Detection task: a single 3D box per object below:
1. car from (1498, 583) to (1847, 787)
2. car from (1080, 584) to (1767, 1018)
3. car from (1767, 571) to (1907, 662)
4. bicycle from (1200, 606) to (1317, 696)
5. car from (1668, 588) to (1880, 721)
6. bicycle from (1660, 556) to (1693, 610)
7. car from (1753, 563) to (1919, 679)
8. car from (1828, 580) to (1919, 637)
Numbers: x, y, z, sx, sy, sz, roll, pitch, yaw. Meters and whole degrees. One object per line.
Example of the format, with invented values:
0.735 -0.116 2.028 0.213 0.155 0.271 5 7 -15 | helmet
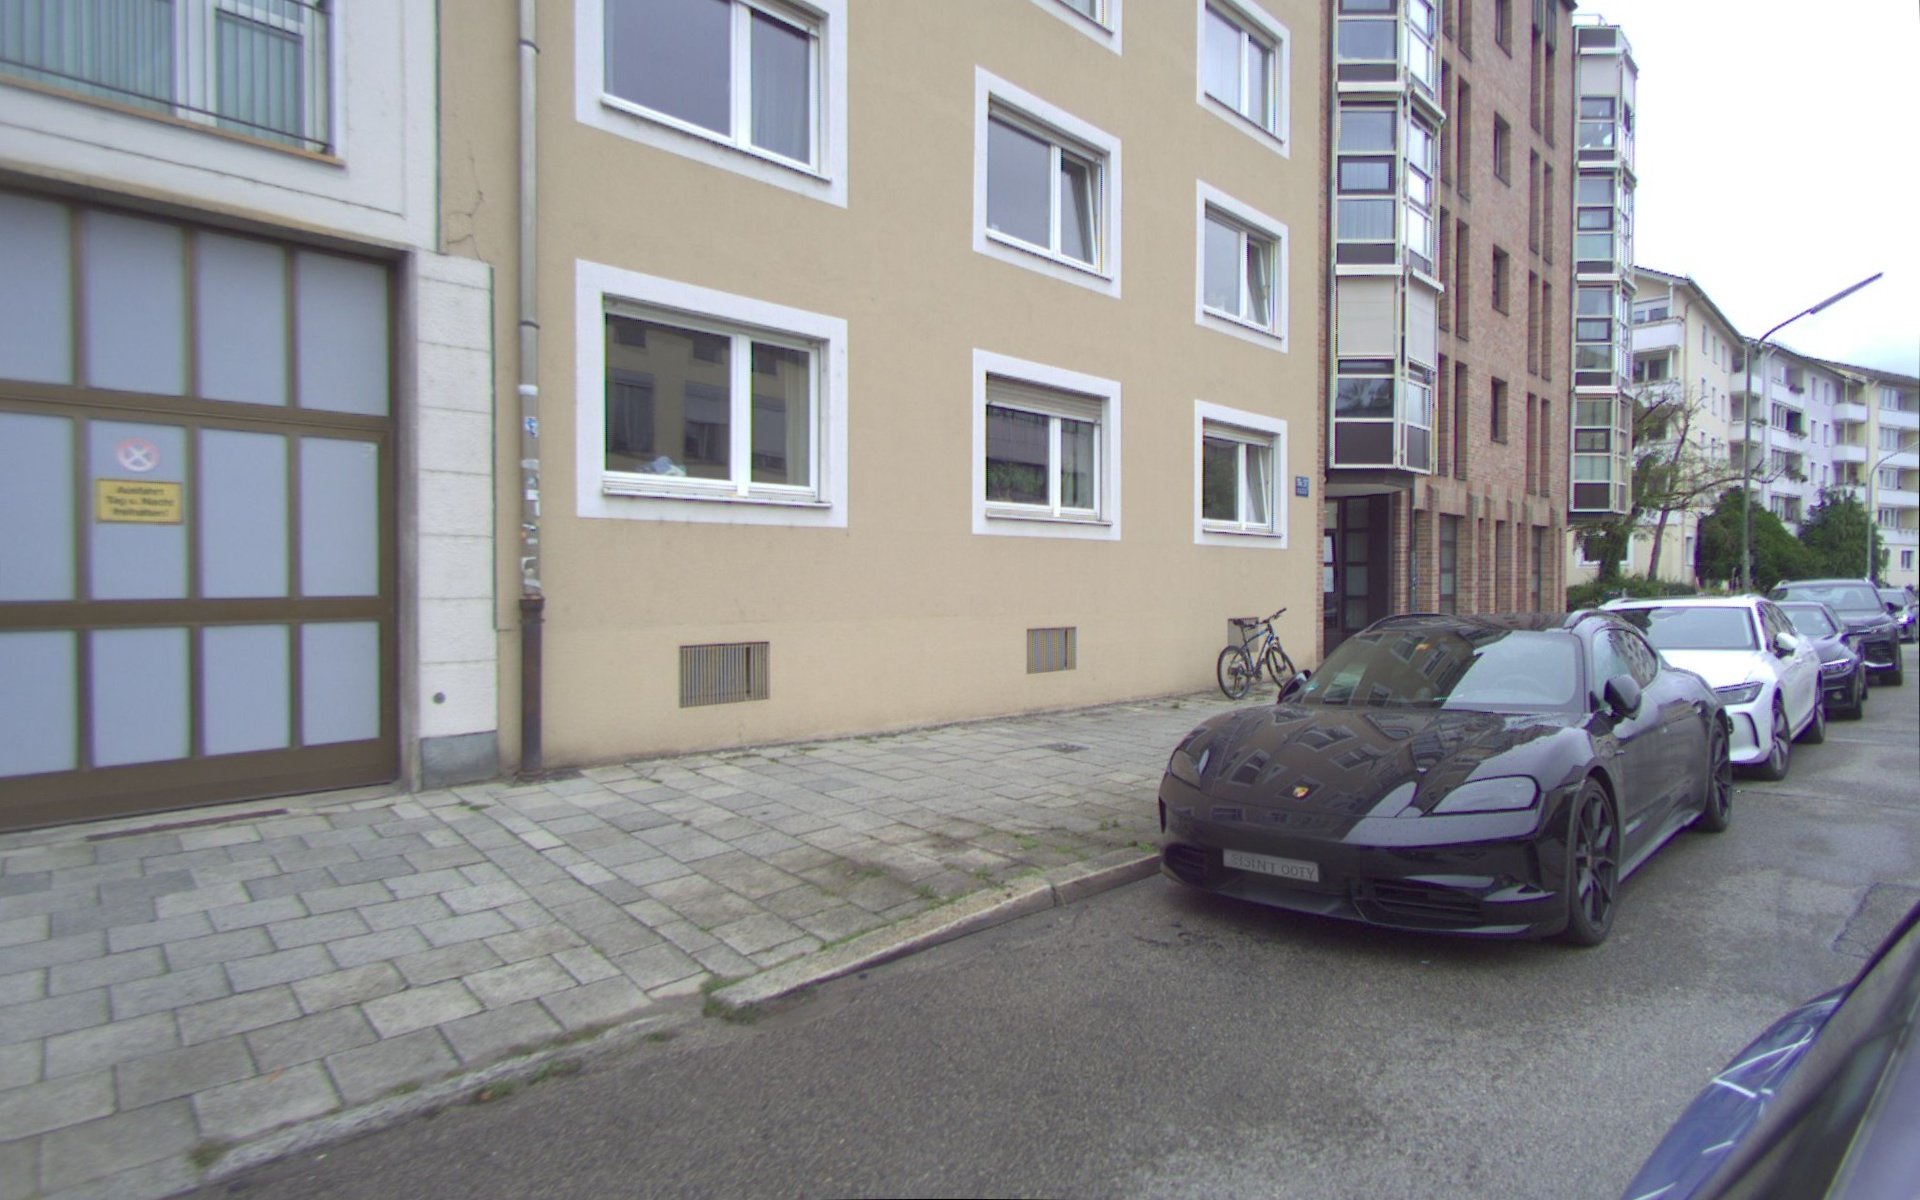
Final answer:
6.928 0.567 9.576 4.933 1.431 1.855 -1 2 -45 | car
3.061 0.655 5.935 5.029 1.431 1.957 -1 2 -44 | car
17.677 0.242 20.324 1.878 1.610 4.437 2 2 44 | car
3.925 0.636 13.262 1.723 1.046 0.677 -1 2 -43 | bicycle
10.783 0.605 13.265 1.756 1.383 4.707 -4 -2 43 | car
27.665 -0.675 39.049 1.960 2.038 0.652 -1 2 -44 | bicycle
14.583 0.238 16.844 1.876 1.666 4.574 2 2 42 | car
25.276 0.201 27.522 4.258 1.455 1.880 -1 -1 -41 | car
